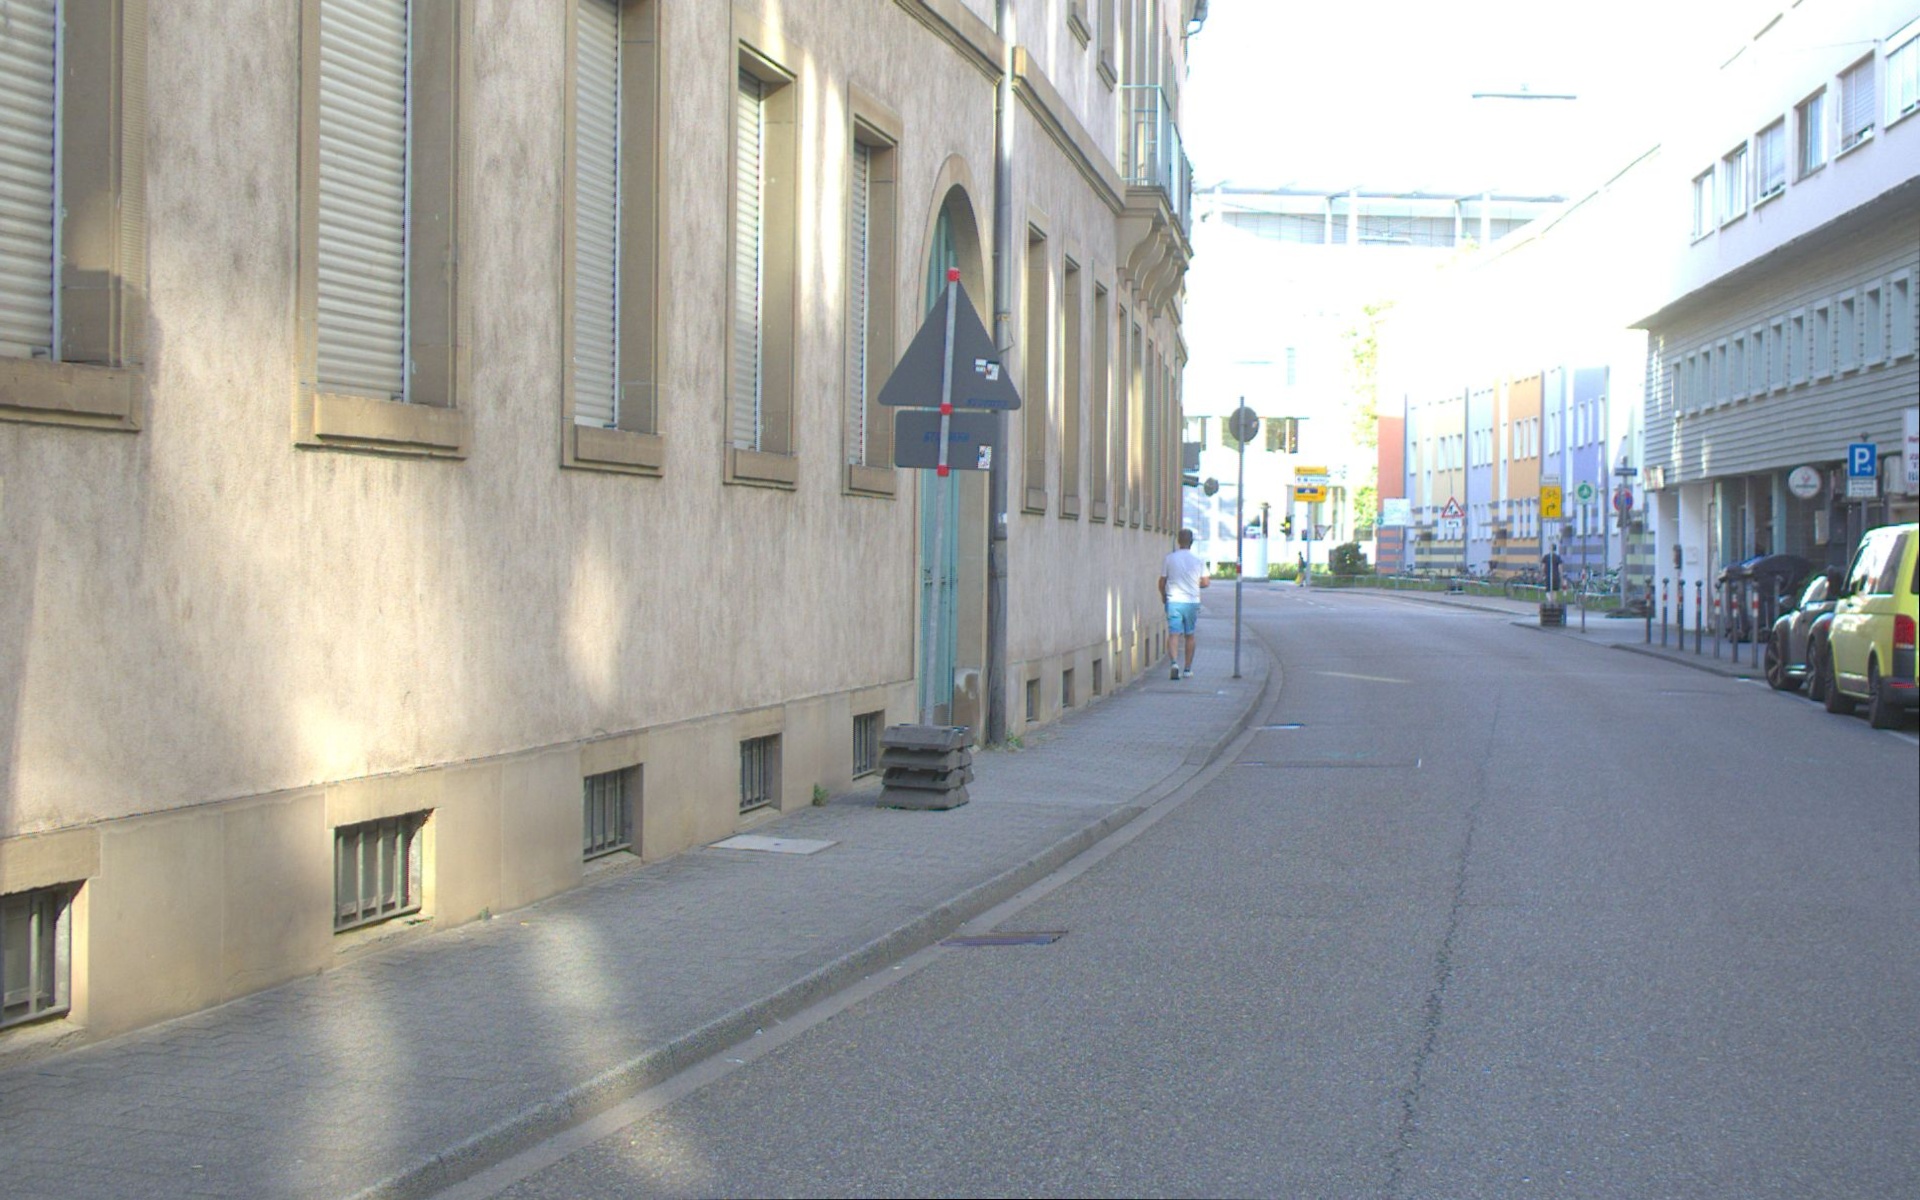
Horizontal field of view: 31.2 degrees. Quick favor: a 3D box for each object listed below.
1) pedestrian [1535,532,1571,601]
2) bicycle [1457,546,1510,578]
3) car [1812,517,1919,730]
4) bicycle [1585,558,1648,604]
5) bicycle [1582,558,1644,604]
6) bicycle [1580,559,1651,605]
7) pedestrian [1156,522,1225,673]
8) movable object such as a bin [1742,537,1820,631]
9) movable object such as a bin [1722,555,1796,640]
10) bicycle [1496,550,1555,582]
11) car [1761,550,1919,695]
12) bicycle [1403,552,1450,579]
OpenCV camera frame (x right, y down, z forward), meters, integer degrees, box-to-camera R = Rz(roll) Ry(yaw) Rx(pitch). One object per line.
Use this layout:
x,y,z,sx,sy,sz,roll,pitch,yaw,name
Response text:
15.427,-0.865,89.424,0.697,1.754,1.189,-3,0,2,pedestrian
18.701,-1.350,122.783,1.810,1.133,0.552,0,0,1,bicycle
9.359,0.179,32.566,1.884,1.875,4.844,1,1,7,car
17.866,-0.520,93.560,1.640,1.137,0.283,-3,1,-6,bicycle
17.833,-0.520,93.834,1.602,1.137,0.237,-3,1,-6,bicycle
17.579,-0.489,92.159,1.748,1.137,0.552,-3,1,2,bicycle
2.607,-0.029,38.819,0.693,1.664,0.875,2,0,6,pedestrian
13.493,-0.254,56.530,0.981,1.475,1.551,-1,-2,4,movable object such as a bin
13.500,-0.031,58.116,0.981,1.380,1.320,-1,-2,4,movable object such as a bin
17.449,-1.055,106.107,1.748,0.943,0.552,-1,0,2,bicycle
10.112,0.208,37.830,1.883,1.484,4.367,1,1,5,car
18.612,-1.375,137.252,1.753,1.000,0.613,-1,0,-3,bicycle
